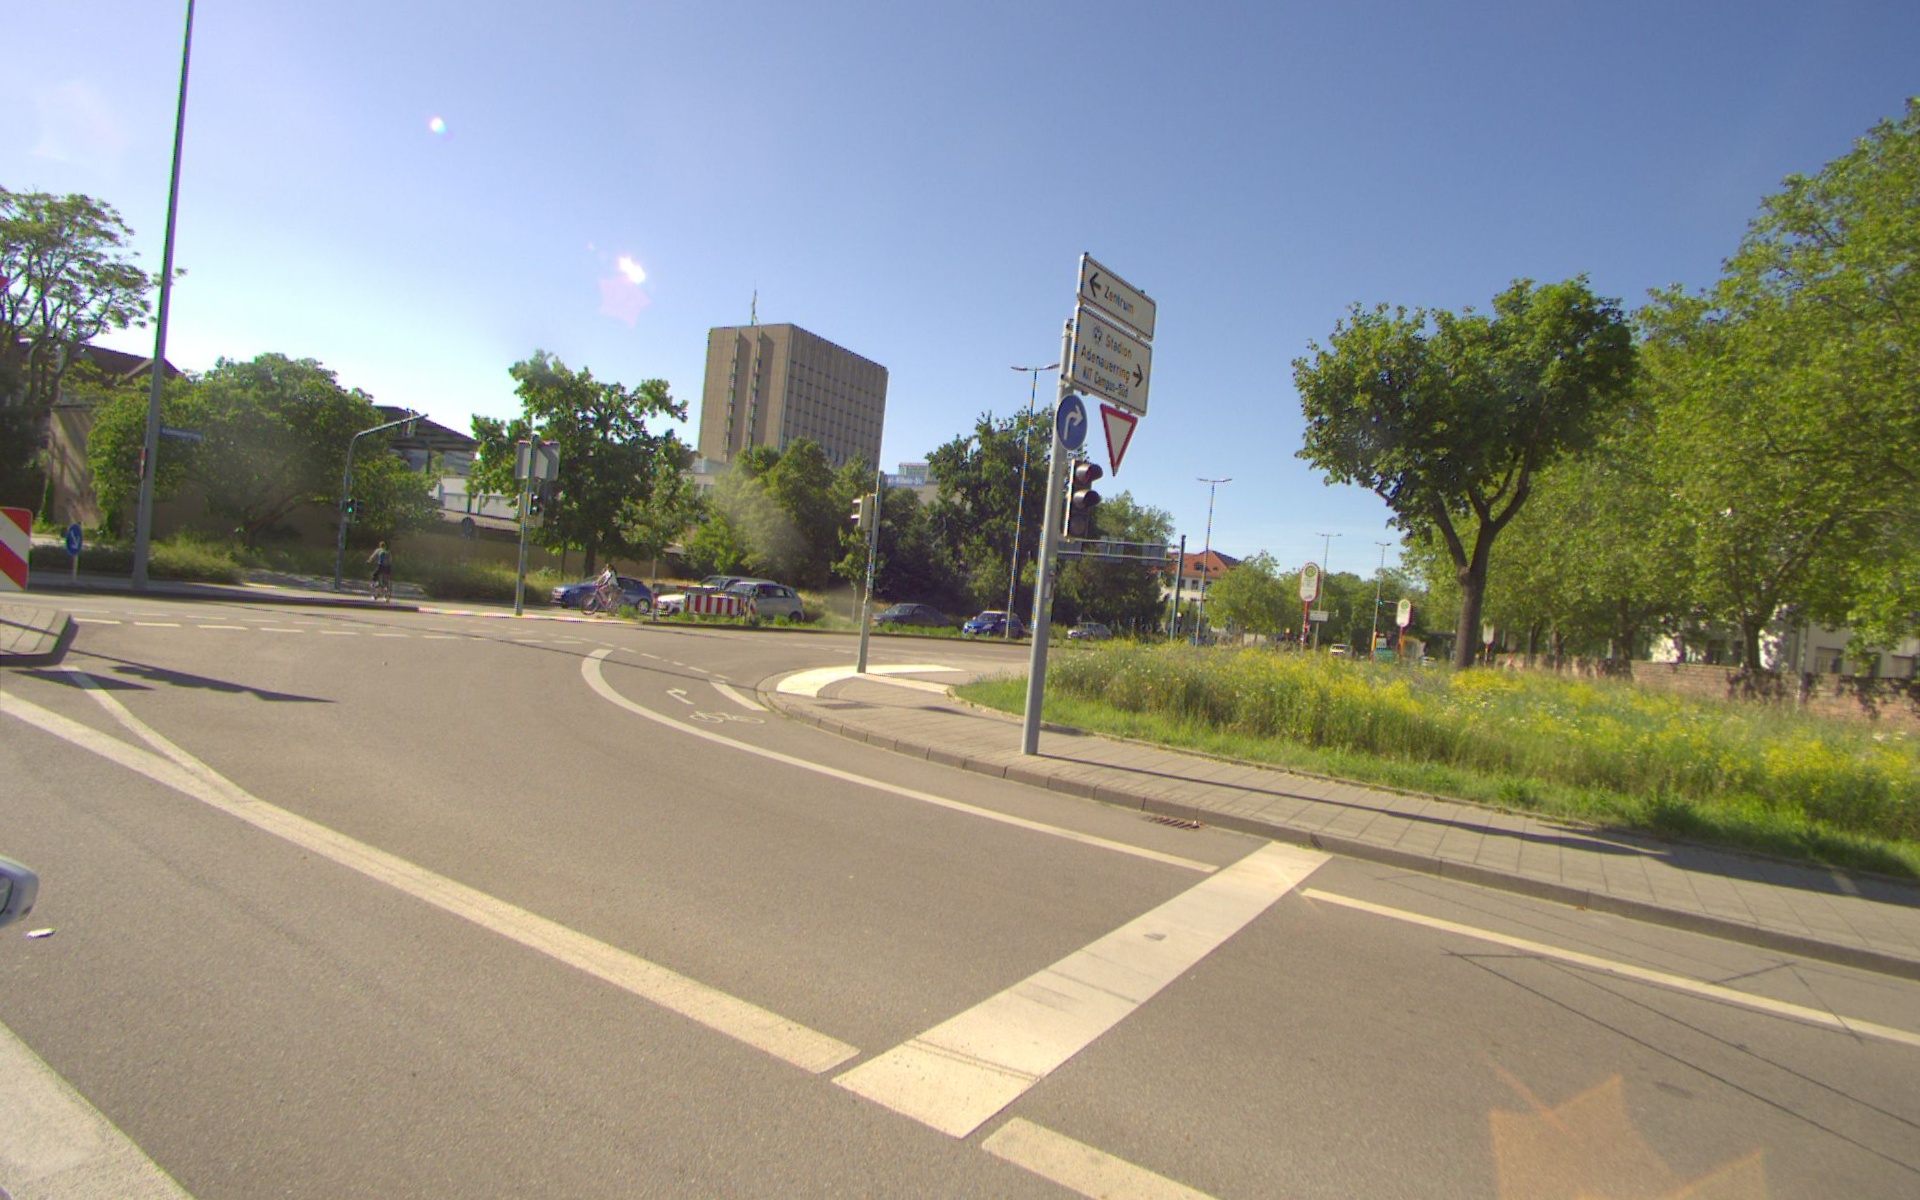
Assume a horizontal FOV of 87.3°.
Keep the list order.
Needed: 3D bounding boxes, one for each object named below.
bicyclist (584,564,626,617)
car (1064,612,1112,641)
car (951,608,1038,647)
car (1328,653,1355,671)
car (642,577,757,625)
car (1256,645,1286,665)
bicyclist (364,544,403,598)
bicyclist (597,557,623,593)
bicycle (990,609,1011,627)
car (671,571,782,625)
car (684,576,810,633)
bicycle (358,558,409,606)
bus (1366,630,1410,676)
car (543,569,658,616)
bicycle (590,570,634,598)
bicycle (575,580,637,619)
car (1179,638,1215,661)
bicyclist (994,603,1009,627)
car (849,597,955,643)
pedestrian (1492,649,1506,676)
[{"bbox_3d":[-11.964,-0.313,33.882,0.734,1.707,0.974,7,2,33],"label":"bicyclist"},{"bbox_3d":[9.642,1.993,75.521,1.907,1.821,4.352,5,-1,31],"label":"car"},{"bbox_3d":[1.752,1.381,49.501,1.953,1.573,4.709,4,-1,35],"label":"car"},{"bbox_3d":[47.004,7.698,123.902,1.909,1.976,4.519,5,-1,34],"label":"car"},{"bbox_3d":[-10.356,0.055,40.167,1.971,1.487,3.982,6,0,39],"label":"car"},{"bbox_3d":[34.507,6.101,111.498,1.907,1.976,4.747,5,-1,31],"label":"car"},{"bbox_3d":[-16.757,-0.844,29.238,0.765,1.463,0.640,9,3,41],"label":"bicyclist"},{"bbox_3d":[-16.980,-1.191,48.759,0.621,1.617,0.830,9,4,31],"label":"bicyclist"},{"bbox_3d":[2.991,1.365,74.413,0.632,1.179,1.866,6,0,31],"label":"bicycle"},{"bbox_3d":[-10.491,-0.057,45.539,1.909,1.976,4.742,5,-1,35],"label":"car"},{"bbox_3d":[-7.545,0.205,35.987,1.762,1.644,4.303,5,-1,35],"label":"car"},{"bbox_3d":[-16.762,-0.532,29.228,1.843,1.180,0.640,8,3,41],"label":"bicycle"},{"bbox_3d":[37.235,4.656,87.392,2.935,3.311,6.255,6,-2,26],"label":"bus"},{"bbox_3d":[-14.202,-0.272,39.948,1.678,1.459,3.988,5,-1,35],"label":"car"},{"bbox_3d":[-16.923,-0.773,48.974,0.632,1.180,1.952,9,3,31],"label":"bicycle"},{"bbox_3d":[-11.940,-0.014,33.974,0.736,1.180,1.864,7,2,33],"label":"bicycle"},{"bbox_3d":[22.067,4.655,93.504,1.816,1.851,4.381,5,-1,32],"label":"car"},{"bbox_3d":[3.047,1.128,74.431,0.632,1.666,0.775,6,1,31],"label":"bicyclist"},{"bbox_3d":[-2.415,0.880,43.278,1.953,1.573,4.709,4,-1,35],"label":"car"},{"bbox_3d":[34.728,4.031,64.843,0.642,1.630,0.558,6,-1,30],"label":"pedestrian"}]
